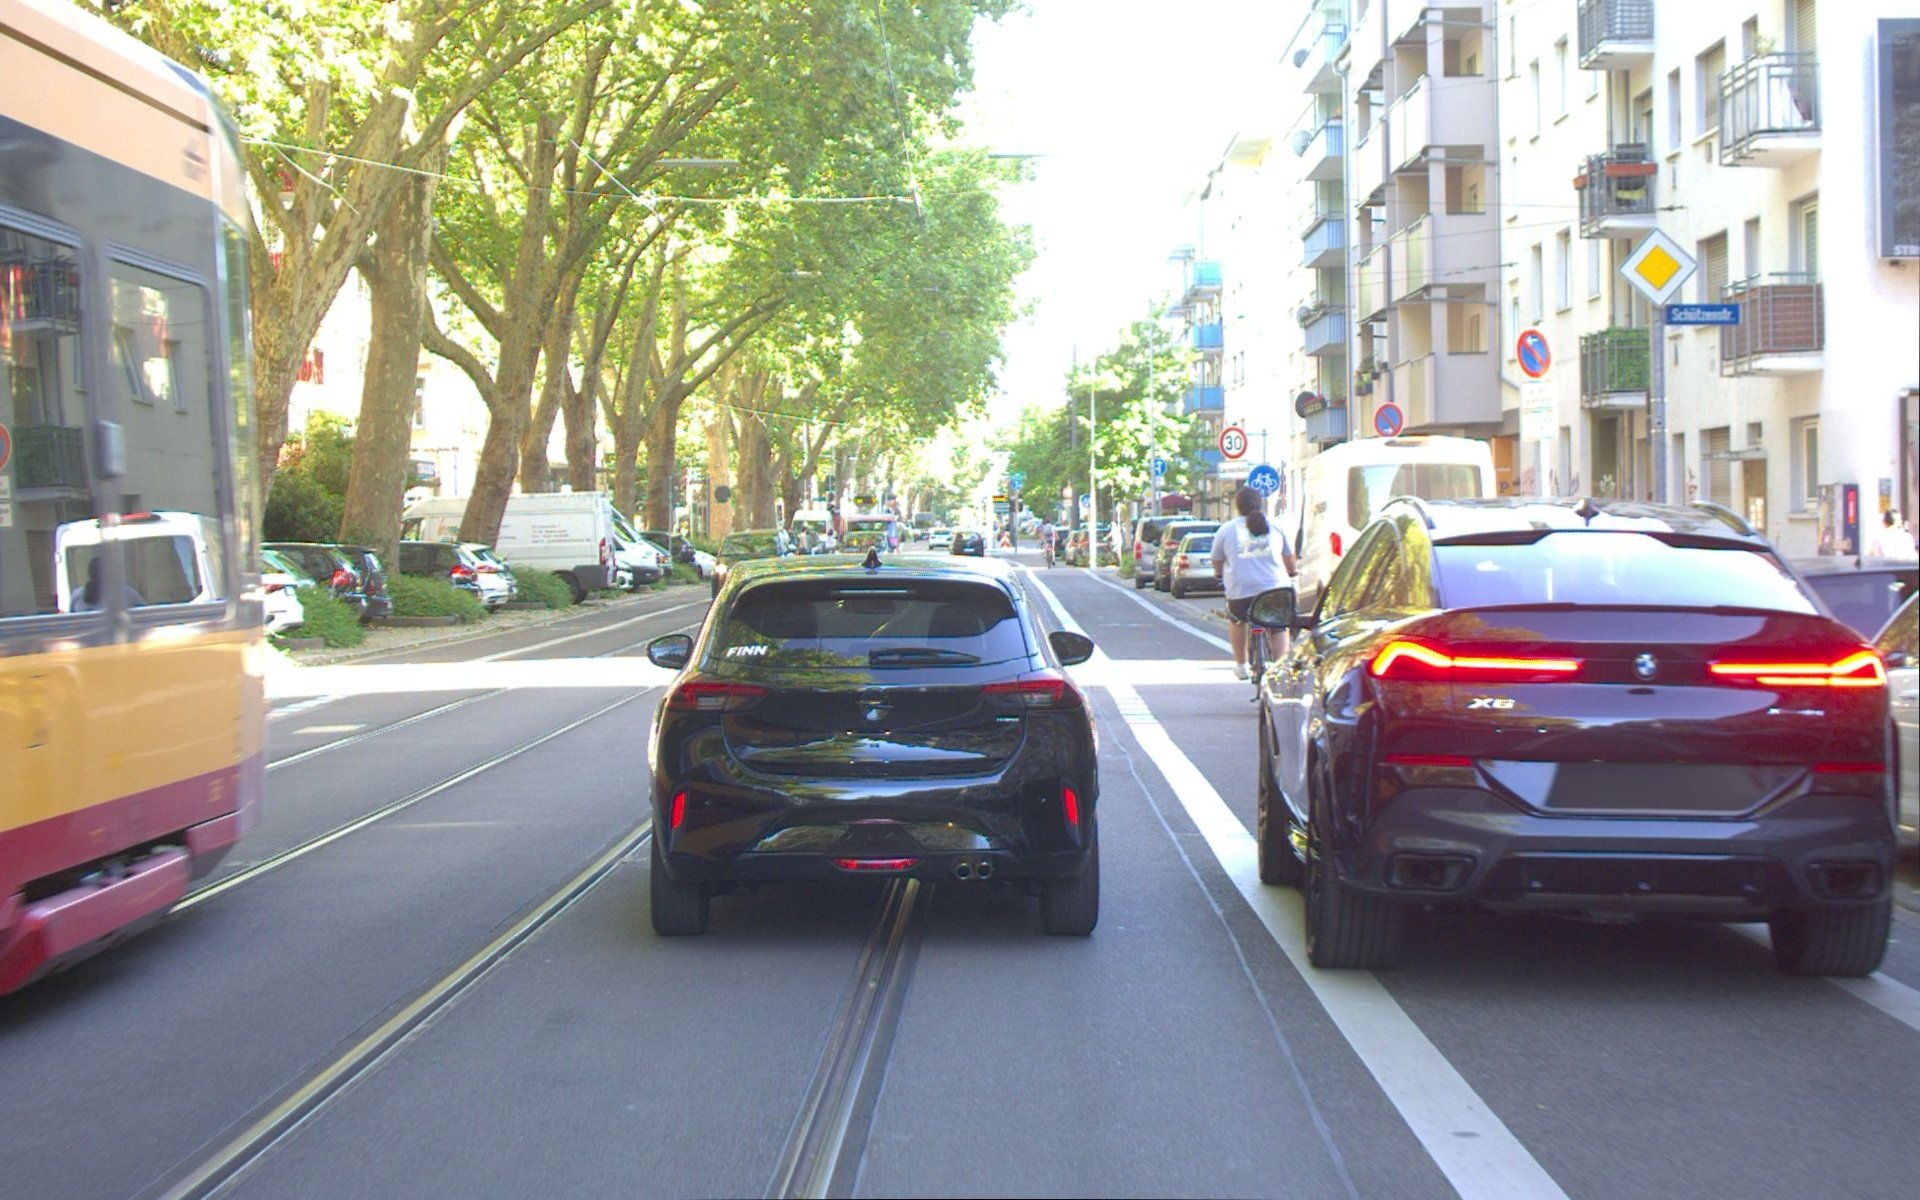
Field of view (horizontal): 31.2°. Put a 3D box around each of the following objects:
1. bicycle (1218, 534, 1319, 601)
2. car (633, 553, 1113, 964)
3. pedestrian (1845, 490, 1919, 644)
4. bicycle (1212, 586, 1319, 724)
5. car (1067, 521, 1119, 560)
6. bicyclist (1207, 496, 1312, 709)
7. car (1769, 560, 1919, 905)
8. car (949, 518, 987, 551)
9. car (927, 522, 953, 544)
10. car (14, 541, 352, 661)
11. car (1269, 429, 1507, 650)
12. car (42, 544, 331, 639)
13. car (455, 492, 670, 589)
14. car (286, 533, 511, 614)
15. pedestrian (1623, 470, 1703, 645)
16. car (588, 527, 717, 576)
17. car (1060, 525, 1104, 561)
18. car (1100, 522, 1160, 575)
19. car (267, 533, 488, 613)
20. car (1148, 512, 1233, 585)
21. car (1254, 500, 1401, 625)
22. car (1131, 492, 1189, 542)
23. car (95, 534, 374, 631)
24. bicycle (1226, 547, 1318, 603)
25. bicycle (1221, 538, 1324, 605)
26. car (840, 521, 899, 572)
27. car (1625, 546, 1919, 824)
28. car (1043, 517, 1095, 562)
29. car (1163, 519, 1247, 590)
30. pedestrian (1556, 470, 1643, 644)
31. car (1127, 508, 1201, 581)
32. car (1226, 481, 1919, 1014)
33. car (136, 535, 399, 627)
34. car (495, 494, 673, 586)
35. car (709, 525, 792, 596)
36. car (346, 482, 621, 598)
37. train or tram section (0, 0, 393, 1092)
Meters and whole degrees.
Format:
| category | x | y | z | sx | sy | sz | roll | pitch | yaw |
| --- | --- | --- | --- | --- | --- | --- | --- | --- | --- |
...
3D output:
| category | x | y | z | sx | sy | sz | roll | pitch | yaw |
| --- | --- | --- | --- | --- | --- | --- | --- | --- | --- |
| bicycle | 5.798 | -0.614 | 64.676 | 1.823 | 1.187 | 0.457 | -3 | 1 | 1 |
| car | -0.303 | 0.538 | 14.002 | 1.680 | 1.417 | 3.628 | 1 | 1 | 0 |
| pedestrian | 9.691 | -0.344 | 35.951 | 0.632 | 1.575 | 0.933 | 1 | 1 | 2 |
| bicycle | 2.542 | 0.440 | 28.759 | 0.701 | 1.088 | 1.990 | 1 | 1 | 0 |
| car | 5.483 | -2.467 | 142.135 | 1.718 | 1.568 | 4.085 | -1 | 1 | -3 |
| bicyclist | 2.498 | 0.014 | 28.762 | 0.786 | 1.753 | 0.915 | 0 | 1 | 0 |
| car | 4.851 | 0.542 | 15.200 | 1.602 | 1.415 | 4.013 | -3 | 1 | 1 |
| car | 0.419 | -3.327 | 174.298 | 1.750 | 1.646 | 4.000 | -1 | 1 | 2 |
| car | -1.347 | -4.548 | 233.406 | 1.680 | 1.417 | 3.628 | 1 | 1 | 0 |
| car | -10.161 | 0.014 | 45.176 | 3.987 | 1.455 | 1.879 | -1 | 0 | 0 |
| car | 5.126 | -0.736 | 42.011 | 2.149 | 2.487 | 6.089 | 0 | 1 | 0 |
| car | -11.764 | -0.139 | 52.406 | 3.987 | 1.364 | 1.605 | -1 | 1 | 3 |
| car | -10.454 | -1.569 | 90.650 | 5.360 | 2.469 | 2.057 | -1 | 1 | 1 |
| car | -10.814 | -0.518 | 66.405 | 3.987 | 1.491 | 1.830 | -1 | 1 | 2 |
| pedestrian | 7.512 | -0.453 | 36.766 | 0.625 | 1.816 | 1.082 | -2 | 0 | 3 |
| car | -9.856 | -1.558 | 110.513 | 3.987 | 1.516 | 1.771 | -1 | 1 | 0 |
| car | 5.240 | -2.454 | 147.887 | 1.718 | 1.485 | 3.682 | -1 | 1 | -1 |
| car | 5.391 | -1.654 | 109.592 | 1.858 | 1.646 | 4.000 | -1 | 1 | 2 |
| car | -10.802 | -0.508 | 63.927 | 3.793 | 1.455 | 1.704 | 0 | 1 | 2 |
| car | 5.600 | -1.274 | 83.870 | 1.767 | 1.699 | 4.283 | -1 | 1 | 0 |
| car | 5.541 | -0.593 | 52.296 | 1.858 | 1.814 | 4.351 | 0 | 1 | 1 |
| car | 6.803 | -2.831 | 117.243 | 1.858 | 1.646 | 4.000 | -1 | 1 | 2 |
| car | -11.461 | -0.286 | 54.468 | 3.987 | 1.455 | 1.770 | -1 | 1 | 3 |
| bicycle | 5.820 | -0.475 | 64.177 | 1.653 | 0.963 | 0.457 | -3 | 1 | 1 |
| bicycle | 5.721 | -0.525 | 63.023 | 1.794 | 1.144 | 0.704 | -3 | 1 | 1 |
| car | -2.701 | -1.618 | 103.409 | 1.718 | 1.504 | 3.723 | -1 | 1 | -1 |
| car | 5.150 | 0.428 | 20.539 | 1.649 | 1.415 | 4.060 | -3 | 1 | 2 |
| car | 4.073 | -2.259 | 127.929 | 1.858 | 1.646 | 4.000 | -1 | 1 | 2 |
| car | 5.475 | -1.046 | 77.178 | 1.724 | 1.520 | 4.512 | -1 | 1 | 2 |
| pedestrian | 6.838 | -0.462 | 36.801 | 0.709 | 1.816 | 1.082 | -2 | 0 | 3 |
| car | 5.454 | -1.500 | 92.459 | 1.858 | 1.883 | 4.924 | -1 | 1 | 2 |
| car | 2.179 | 0.431 | 13.341 | 1.944 | 1.698 | 4.630 | 0 | 1 | 0 |
| car | -11.509 | -0.322 | 57.289 | 3.987 | 1.455 | 1.704 | -1 | 1 | 3 |
| car | -10.847 | -1.730 | 99.348 | 4.943 | 2.558 | 2.083 | -1 | 1 | -2 |
| car | -4.518 | -0.870 | 74.427 | 1.635 | 1.504 | 3.692 | 0 | 1 | -1 |
| car | -10.483 | -1.338 | 75.936 | 5.741 | 2.527 | 2.162 | 0 | 2 | 1 |
| train or tram section | -4.061 | -0.488 | 8.963 | 2.937 | 3.606 | 11.062 | 1 | 1 | 2 |
